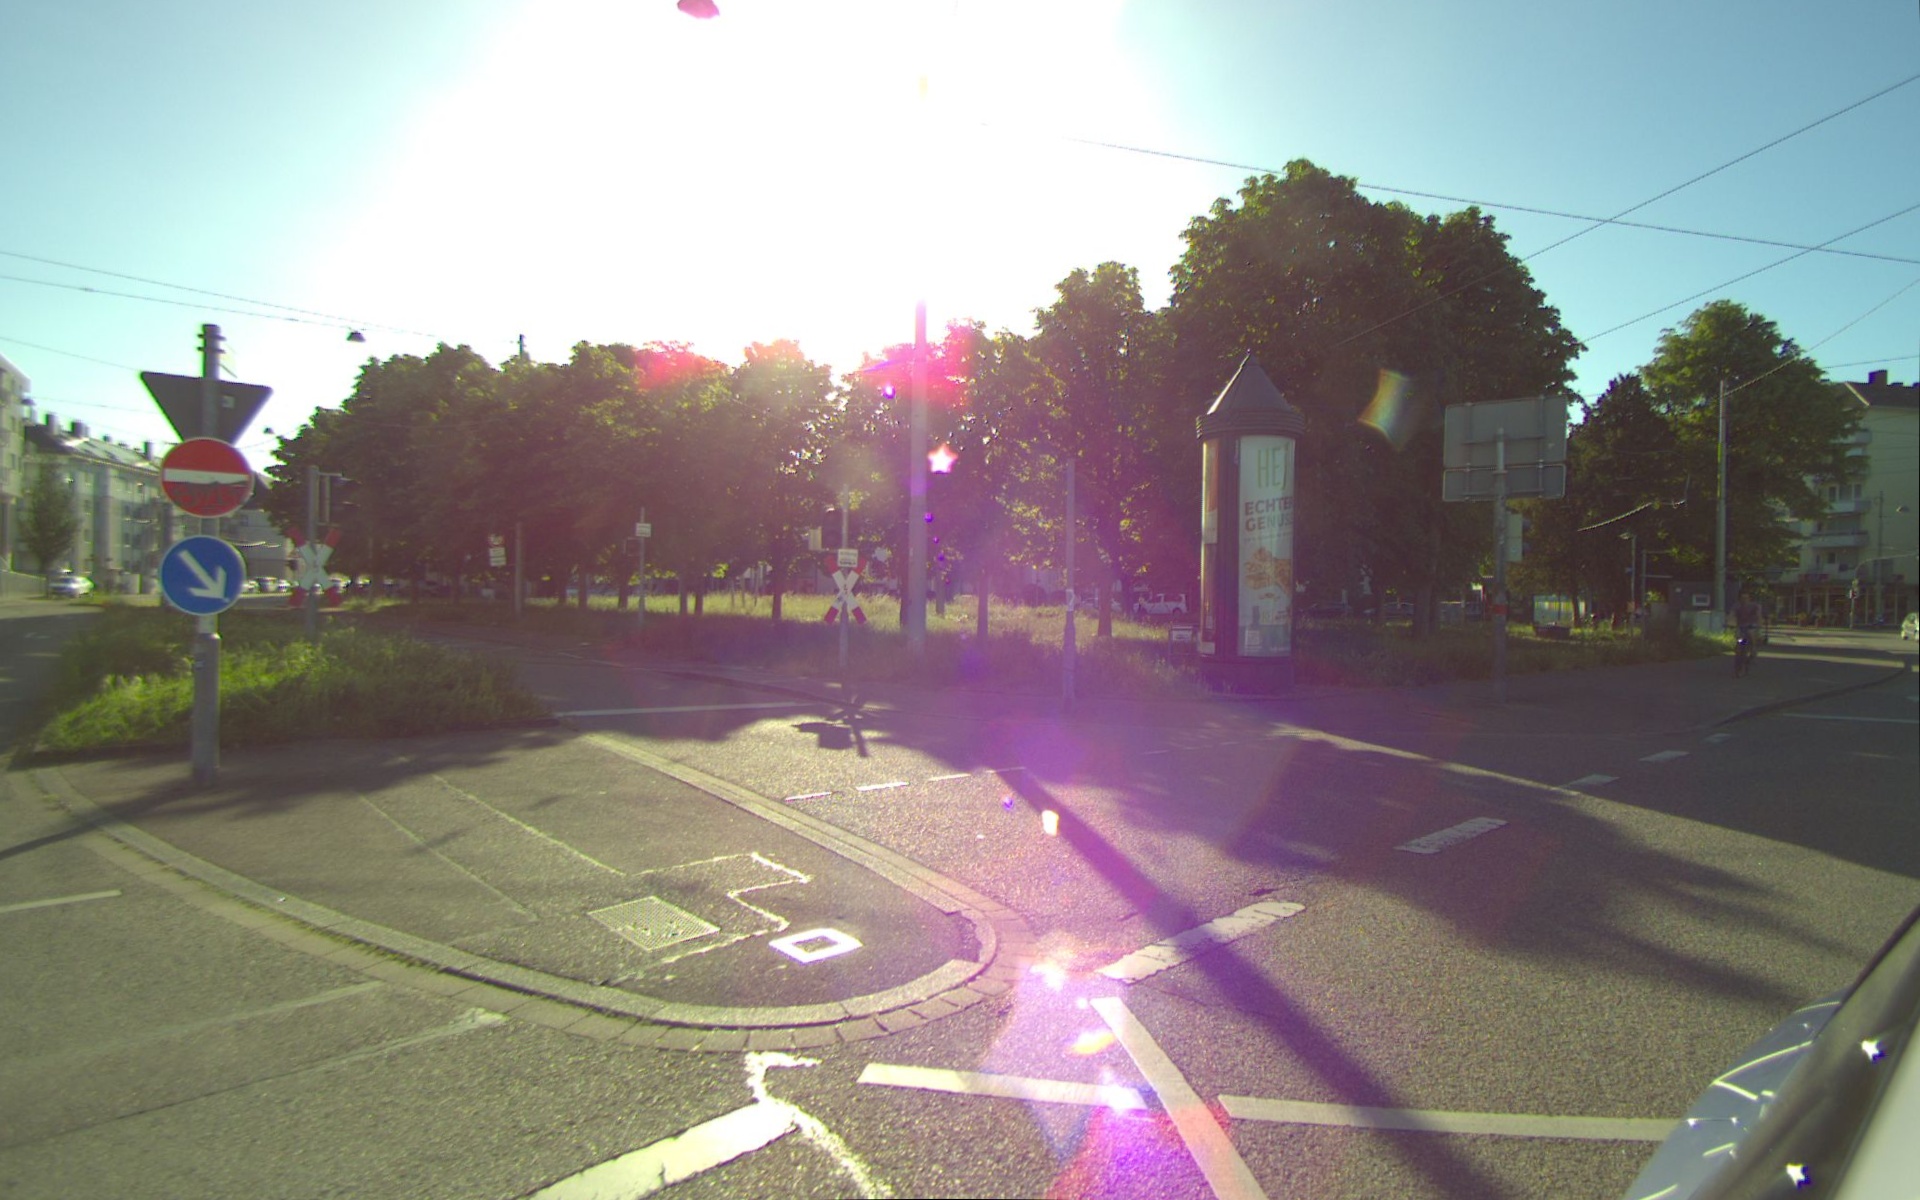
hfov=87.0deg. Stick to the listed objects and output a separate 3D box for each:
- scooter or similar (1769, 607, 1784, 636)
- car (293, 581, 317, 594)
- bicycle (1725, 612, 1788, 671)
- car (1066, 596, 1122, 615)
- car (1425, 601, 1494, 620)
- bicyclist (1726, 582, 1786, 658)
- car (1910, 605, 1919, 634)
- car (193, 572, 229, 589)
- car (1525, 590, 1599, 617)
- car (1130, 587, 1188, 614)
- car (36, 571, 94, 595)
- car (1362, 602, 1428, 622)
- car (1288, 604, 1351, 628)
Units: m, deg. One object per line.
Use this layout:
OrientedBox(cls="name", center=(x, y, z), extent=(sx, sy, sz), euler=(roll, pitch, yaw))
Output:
OrientedBox(cls="scooter or similar", center=(36.630, 0.976, 45.404), extent=(0.383, 1.233, 1.808), euler=(3, 0, 37))
OrientedBox(cls="car", center=(-93.058, -1.762, 143.826), extent=(1.958, 1.661, 4.008), euler=(-1, 0, -20))
OrientedBox(cls="bicycle", center=(17.609, 0.894, 22.365), extent=(1.966, 1.207, 0.720), euler=(1, 1, -41))
OrientedBox(cls="car", center=(10.585, 0.436, 80.104), extent=(4.300, 1.446, 1.689), euler=(-1, 0, 5))
OrientedBox(cls="car", center=(37.352, 0.778, 75.769), extent=(4.111, 1.365, 1.998), euler=(-1, 0, 4))
OrientedBox(cls="bicyclist", center=(17.616, 0.425, 22.386), extent=(1.129, 1.619, 0.813), euler=(1, 1, -41))
OrientedBox(cls="car", center=(49.675, 0.997, 50.940), extent=(1.686, 1.459, 3.611), euler=(0, -1, 27))
OrientedBox(cls="car", center=(-79.038, -2.032, 106.811), extent=(1.958, 1.661, 4.008), euler=(-1, 0, -20))
OrientedBox(cls="car", center=(44.334, 0.248, 74.583), extent=(4.173, 1.881, 1.998), euler=(-1, 0, 4))
OrientedBox(cls="car", center=(15.567, 0.060, 79.349), extent=(4.256, 1.989, 1.907), euler=(-1, 0, 5))
OrientedBox(cls="car", center=(-68.359, -1.281, 77.341), extent=(1.958, 1.661, 4.008), euler=(-1, 0, -19))
OrientedBox(cls="car", center=(32.930, 0.883, 76.622), extent=(4.111, 1.362, 1.998), euler=(-1, 0, 4))
OrientedBox(cls="car", center=(27.493, 1.194, 77.442), extent=(4.111, 1.738, 1.998), euler=(-1, 0, 4))
